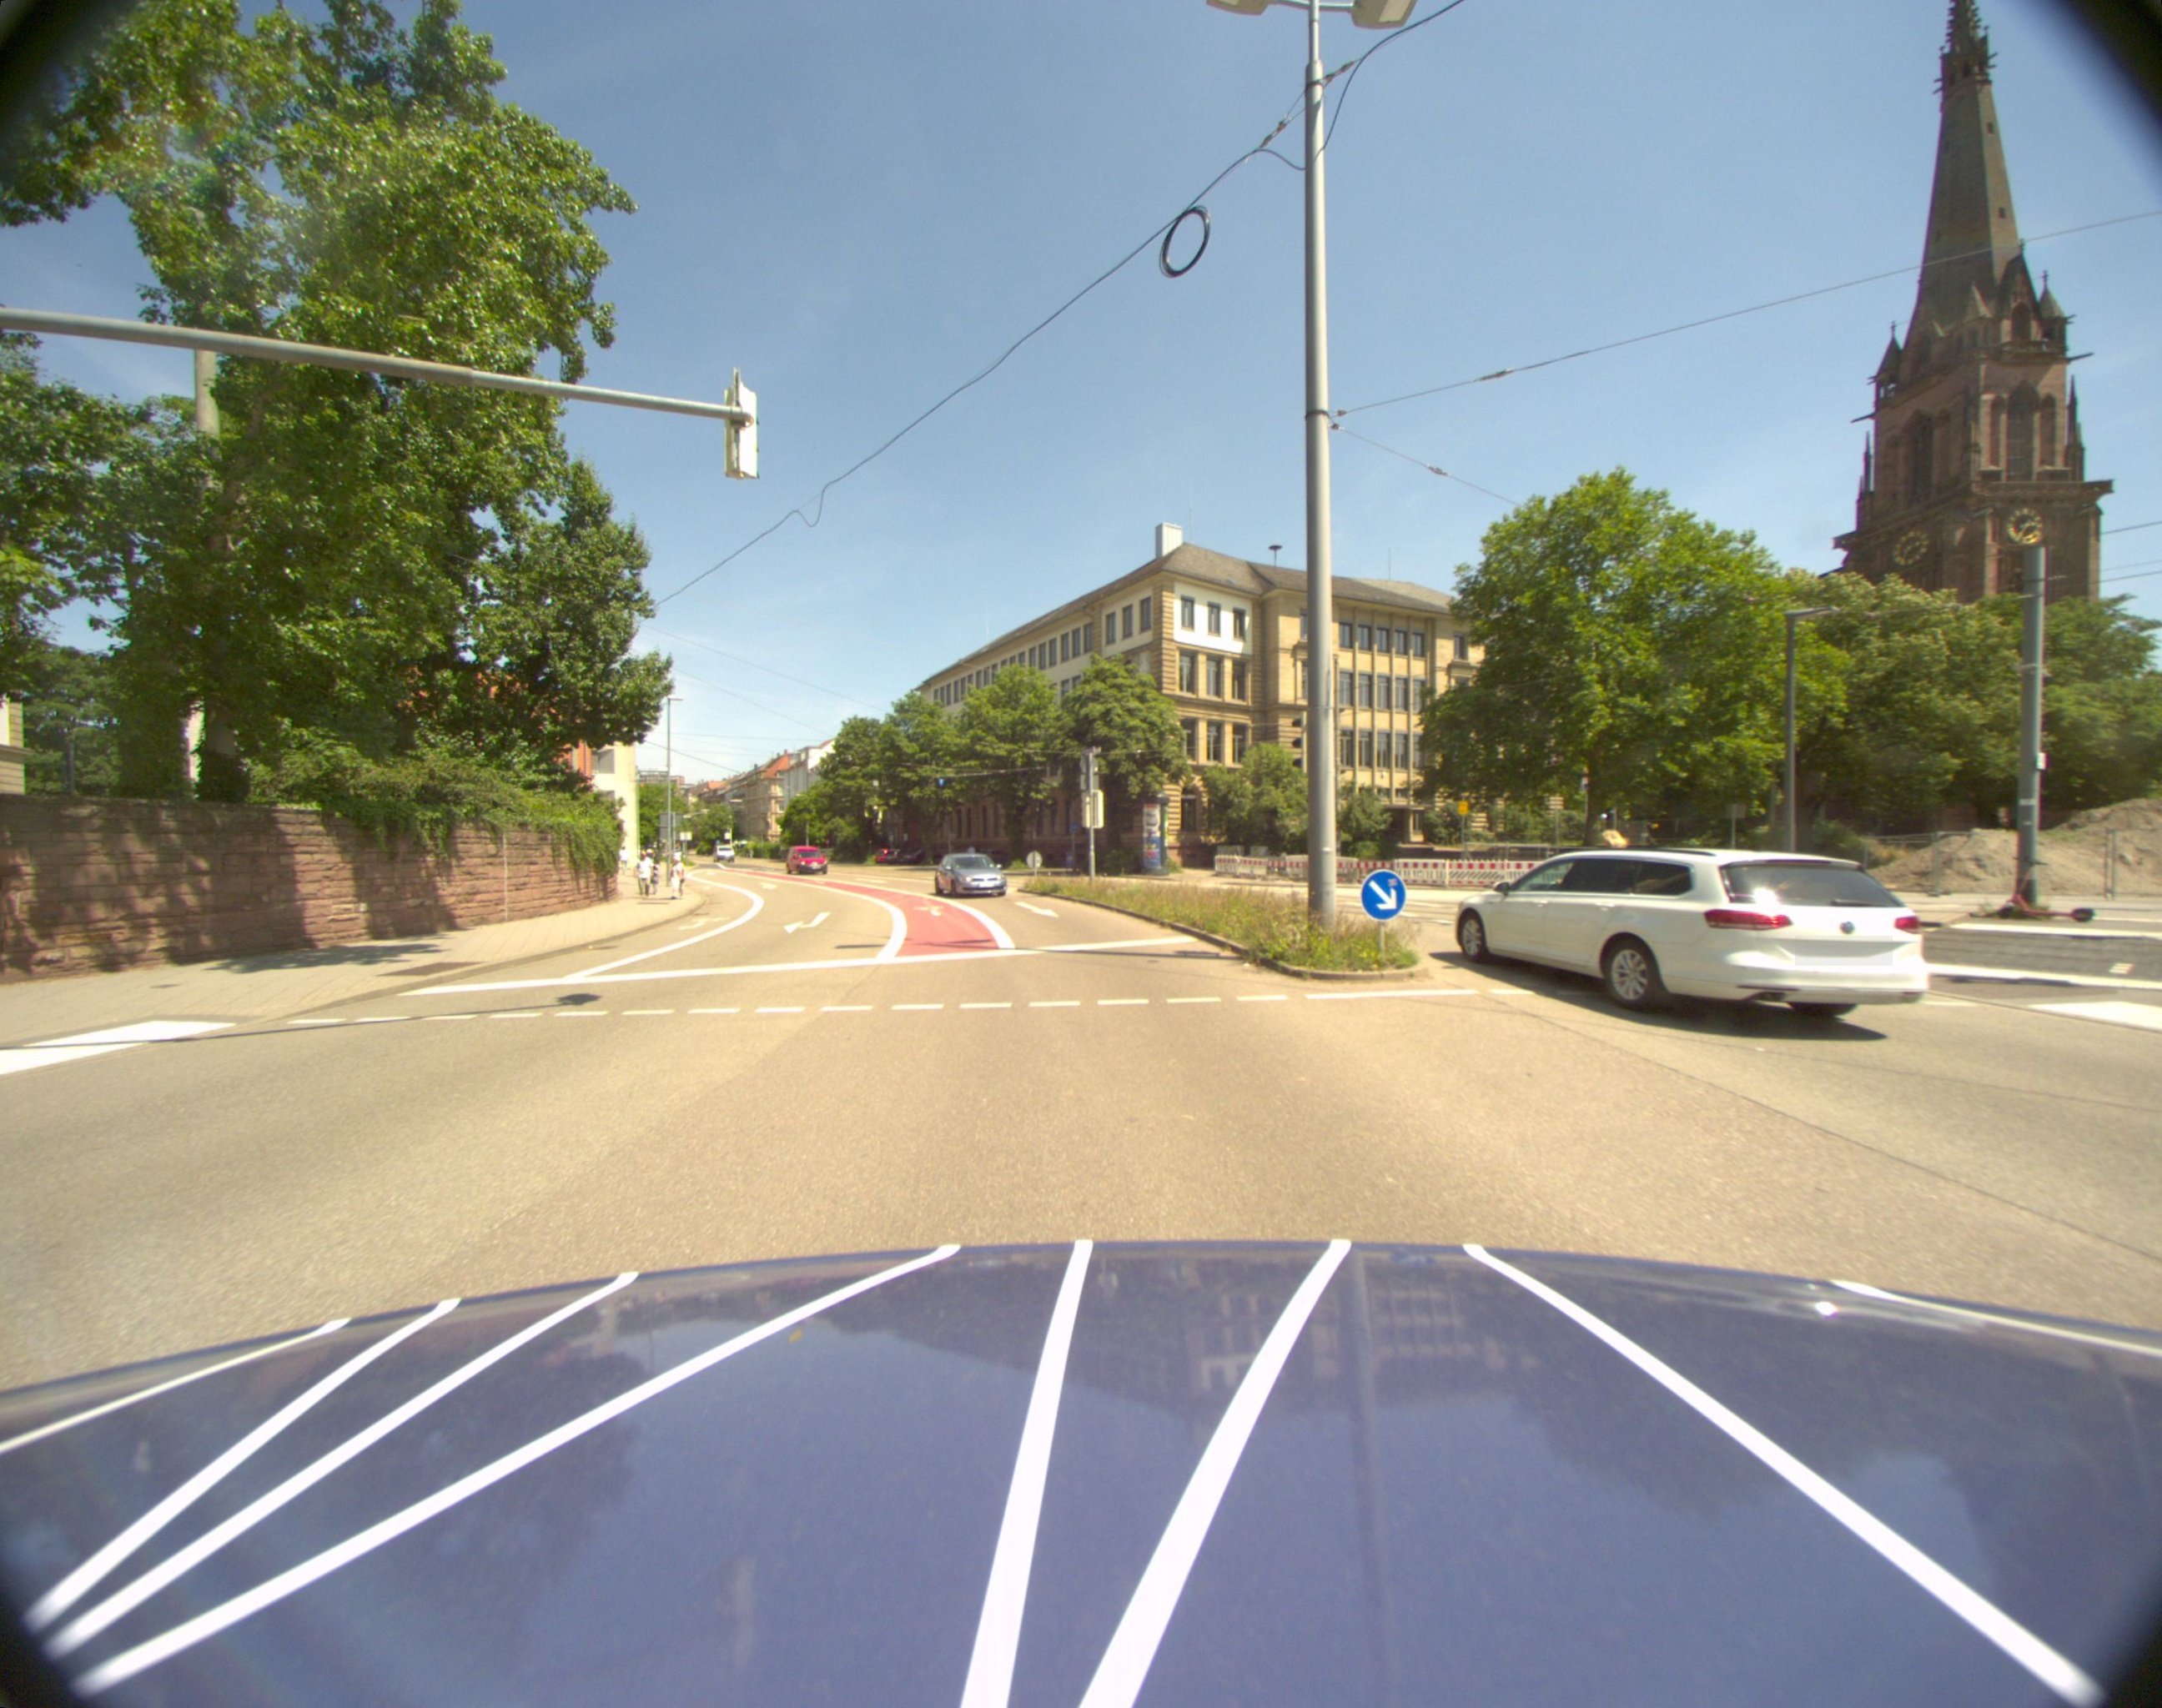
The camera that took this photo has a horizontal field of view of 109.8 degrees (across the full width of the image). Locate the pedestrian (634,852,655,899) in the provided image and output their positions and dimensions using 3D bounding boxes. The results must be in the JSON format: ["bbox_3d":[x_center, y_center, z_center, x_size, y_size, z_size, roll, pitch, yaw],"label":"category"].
[{"bbox_3d":[-15.033,0.748,26.160,0.606,1.601,0.557,2,-1,-30],"label":"pedestrian"}]

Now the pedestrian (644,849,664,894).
[{"bbox_3d":[-16.122,0.657,28.698,0.606,1.702,0.557,2,-1,-32],"label":"pedestrian"}]

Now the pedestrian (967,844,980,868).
[{"bbox_3d":[-7.739,0.138,54.879,0.725,1.661,0.642,-1,1,-28],"label":"pedestrian"}]

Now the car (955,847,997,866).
[{"bbox_3d":[-8.650,0.190,62.583,1.567,1.454,3.156,-2,1,39],"label":"car"}]

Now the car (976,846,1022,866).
[{"bbox_3d":[-6.530,0.150,60.706,1.567,1.412,3.559,-2,1,40],"label":"car"}]

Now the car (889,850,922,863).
[{"bbox_3d":[-17.542,0.241,75.906,1.277,1.093,2.995,-2,1,39],"label":"car"}]

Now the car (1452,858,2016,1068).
[{"bbox_3d":[5.751,0.792,7.647,1.820,1.420,4.426,1,1,0],"label":"car"}]

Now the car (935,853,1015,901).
[{"bbox_3d":[-3.717,0.719,26.126,1.835,1.406,3.986,-2,1,-21],"label":"car"}]

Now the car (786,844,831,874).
[{"bbox_3d":[-17.649,0.339,49.083,1.836,1.756,4.269,-3,1,-32],"label":"car"}]

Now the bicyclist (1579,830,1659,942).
[{"bbox_3d":[8.285,0.476,11.730,0.587,1.656,0.798,1,1,-2],"label":"bicyclist"}]

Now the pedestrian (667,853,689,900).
[{"bbox_3d":[-13.909,0.765,26.205,0.606,1.601,0.557,2,-1,-30],"label":"pedestrian"}]

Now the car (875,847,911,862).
[{"bbox_3d":[-19.647,0.018,79.413,1.611,1.444,3.585,-2,1,28],"label":"car"}]

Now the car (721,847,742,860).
[{"bbox_3d":[-40.710,-0.071,88.440,1.837,1.384,4.268,-1,1,-31],"label":"car"}]

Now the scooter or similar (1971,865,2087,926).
[{"bbox_3d":[18.037,0.768,14.496,0.339,1.054,1.447,-3,1,-4],"label":"scooter or similar"}]

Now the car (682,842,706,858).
[{"bbox_3d":[-41.735,-0.447,81.889,1.821,1.698,3.989,-1,1,-33],"label":"car"}]
